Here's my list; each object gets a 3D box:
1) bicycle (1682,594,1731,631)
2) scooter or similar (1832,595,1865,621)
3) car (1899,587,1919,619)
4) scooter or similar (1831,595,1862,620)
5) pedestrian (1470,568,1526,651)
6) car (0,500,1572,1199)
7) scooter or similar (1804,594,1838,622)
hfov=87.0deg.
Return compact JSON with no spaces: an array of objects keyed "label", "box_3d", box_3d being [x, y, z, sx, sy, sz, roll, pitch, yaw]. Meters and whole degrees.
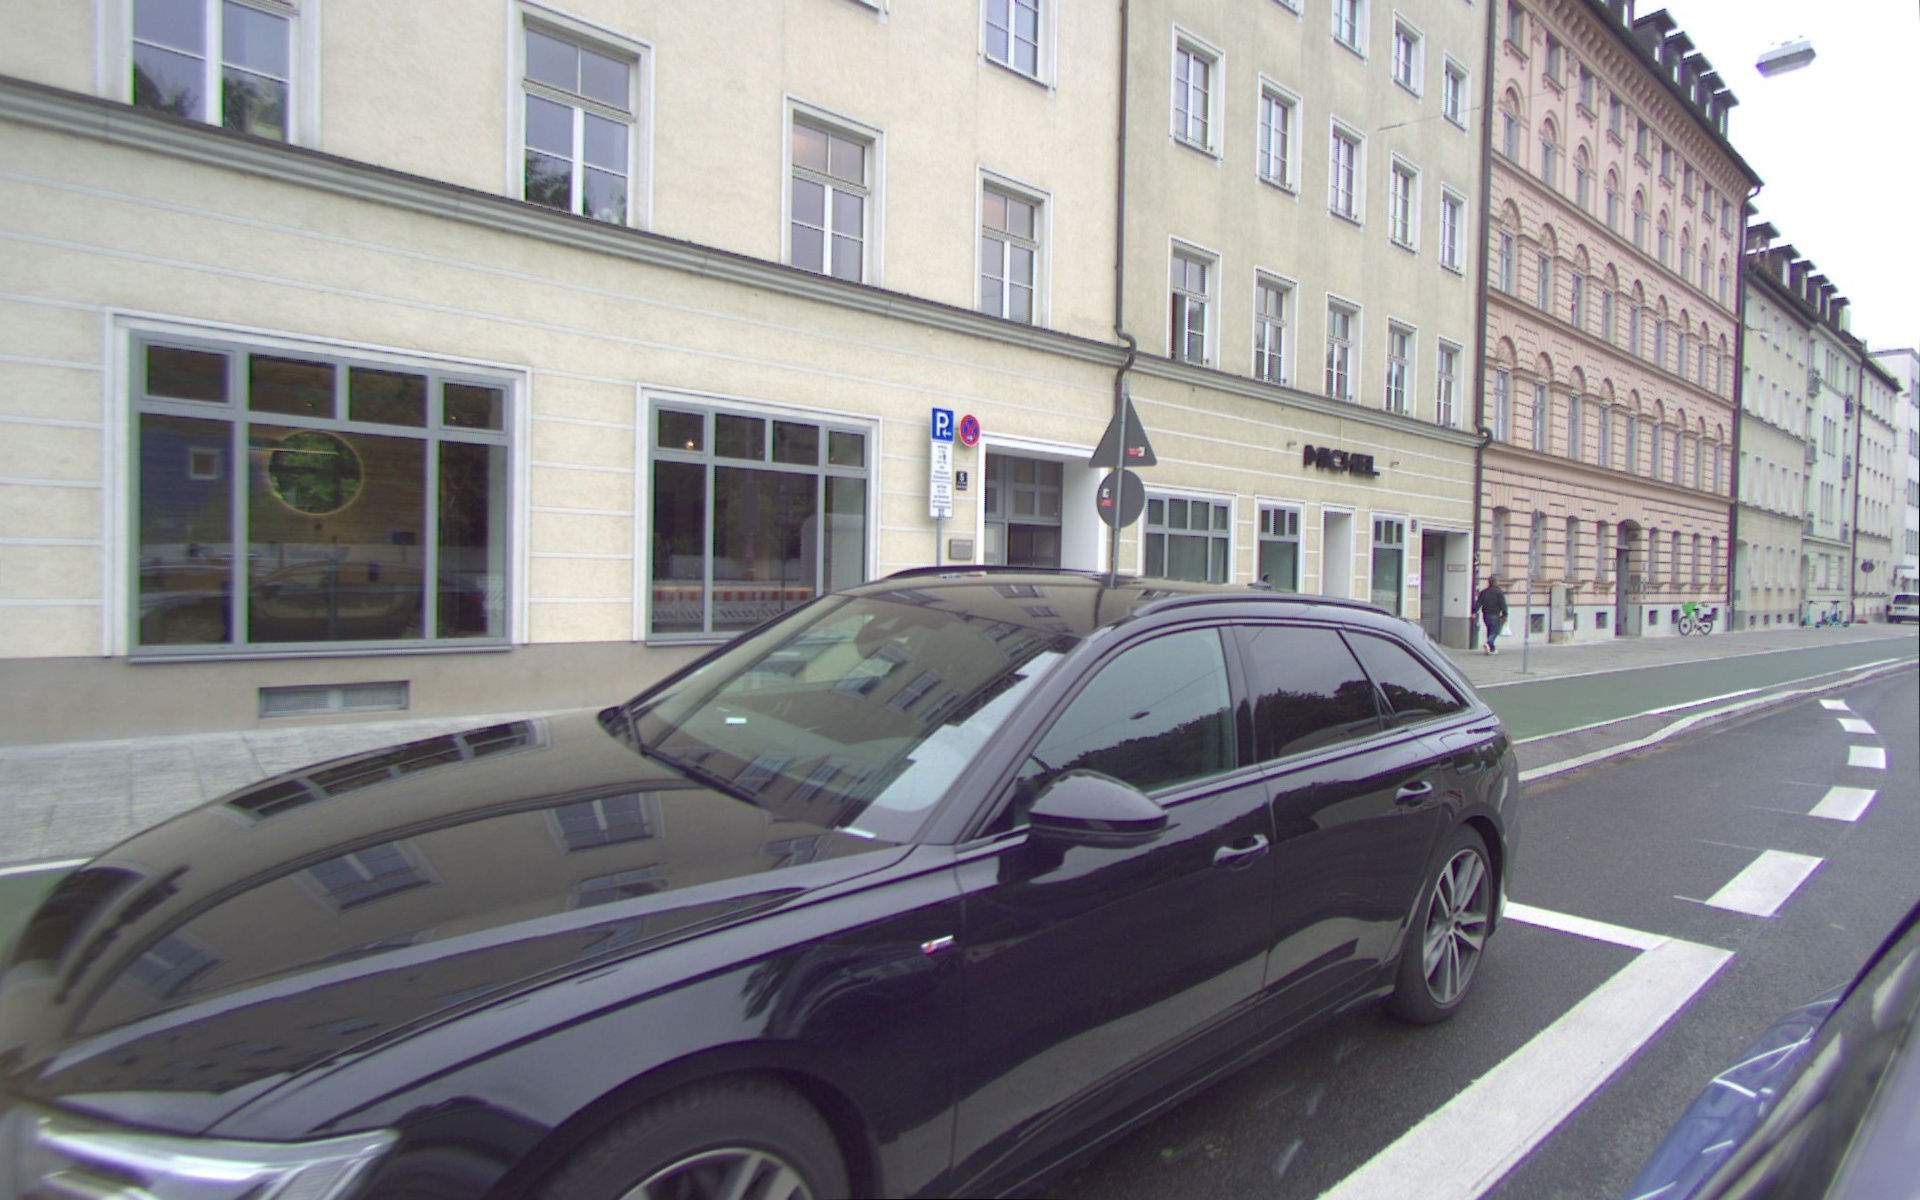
[{"label":"bicycle","box_3d":[25.190,0.427,34.147,1.689,1.191,0.558,1,1,-25]},{"label":"scooter or similar","box_3d":[42.893,0.367,48.870,1.064,1.207,0.451,2,1,21]},{"label":"car","box_3d":[56.632,0.180,59.405,3.929,1.855,1.765,0,1,-40]},{"label":"scooter or similar","box_3d":[43.724,0.371,49.927,1.060,1.207,0.436,1,1,11]},{"label":"pedestrian","box_3d":[11.801,0.201,22.212,0.818,1.767,0.795,0,1,-39]},{"label":"car","box_3d":[-0.046,0.613,2.948,4.385,1.498,1.813,0,5,-42]},{"label":"scooter or similar","box_3d":[39.134,0.357,45.990,1.055,1.261,0.554,1,1,-5]}]
